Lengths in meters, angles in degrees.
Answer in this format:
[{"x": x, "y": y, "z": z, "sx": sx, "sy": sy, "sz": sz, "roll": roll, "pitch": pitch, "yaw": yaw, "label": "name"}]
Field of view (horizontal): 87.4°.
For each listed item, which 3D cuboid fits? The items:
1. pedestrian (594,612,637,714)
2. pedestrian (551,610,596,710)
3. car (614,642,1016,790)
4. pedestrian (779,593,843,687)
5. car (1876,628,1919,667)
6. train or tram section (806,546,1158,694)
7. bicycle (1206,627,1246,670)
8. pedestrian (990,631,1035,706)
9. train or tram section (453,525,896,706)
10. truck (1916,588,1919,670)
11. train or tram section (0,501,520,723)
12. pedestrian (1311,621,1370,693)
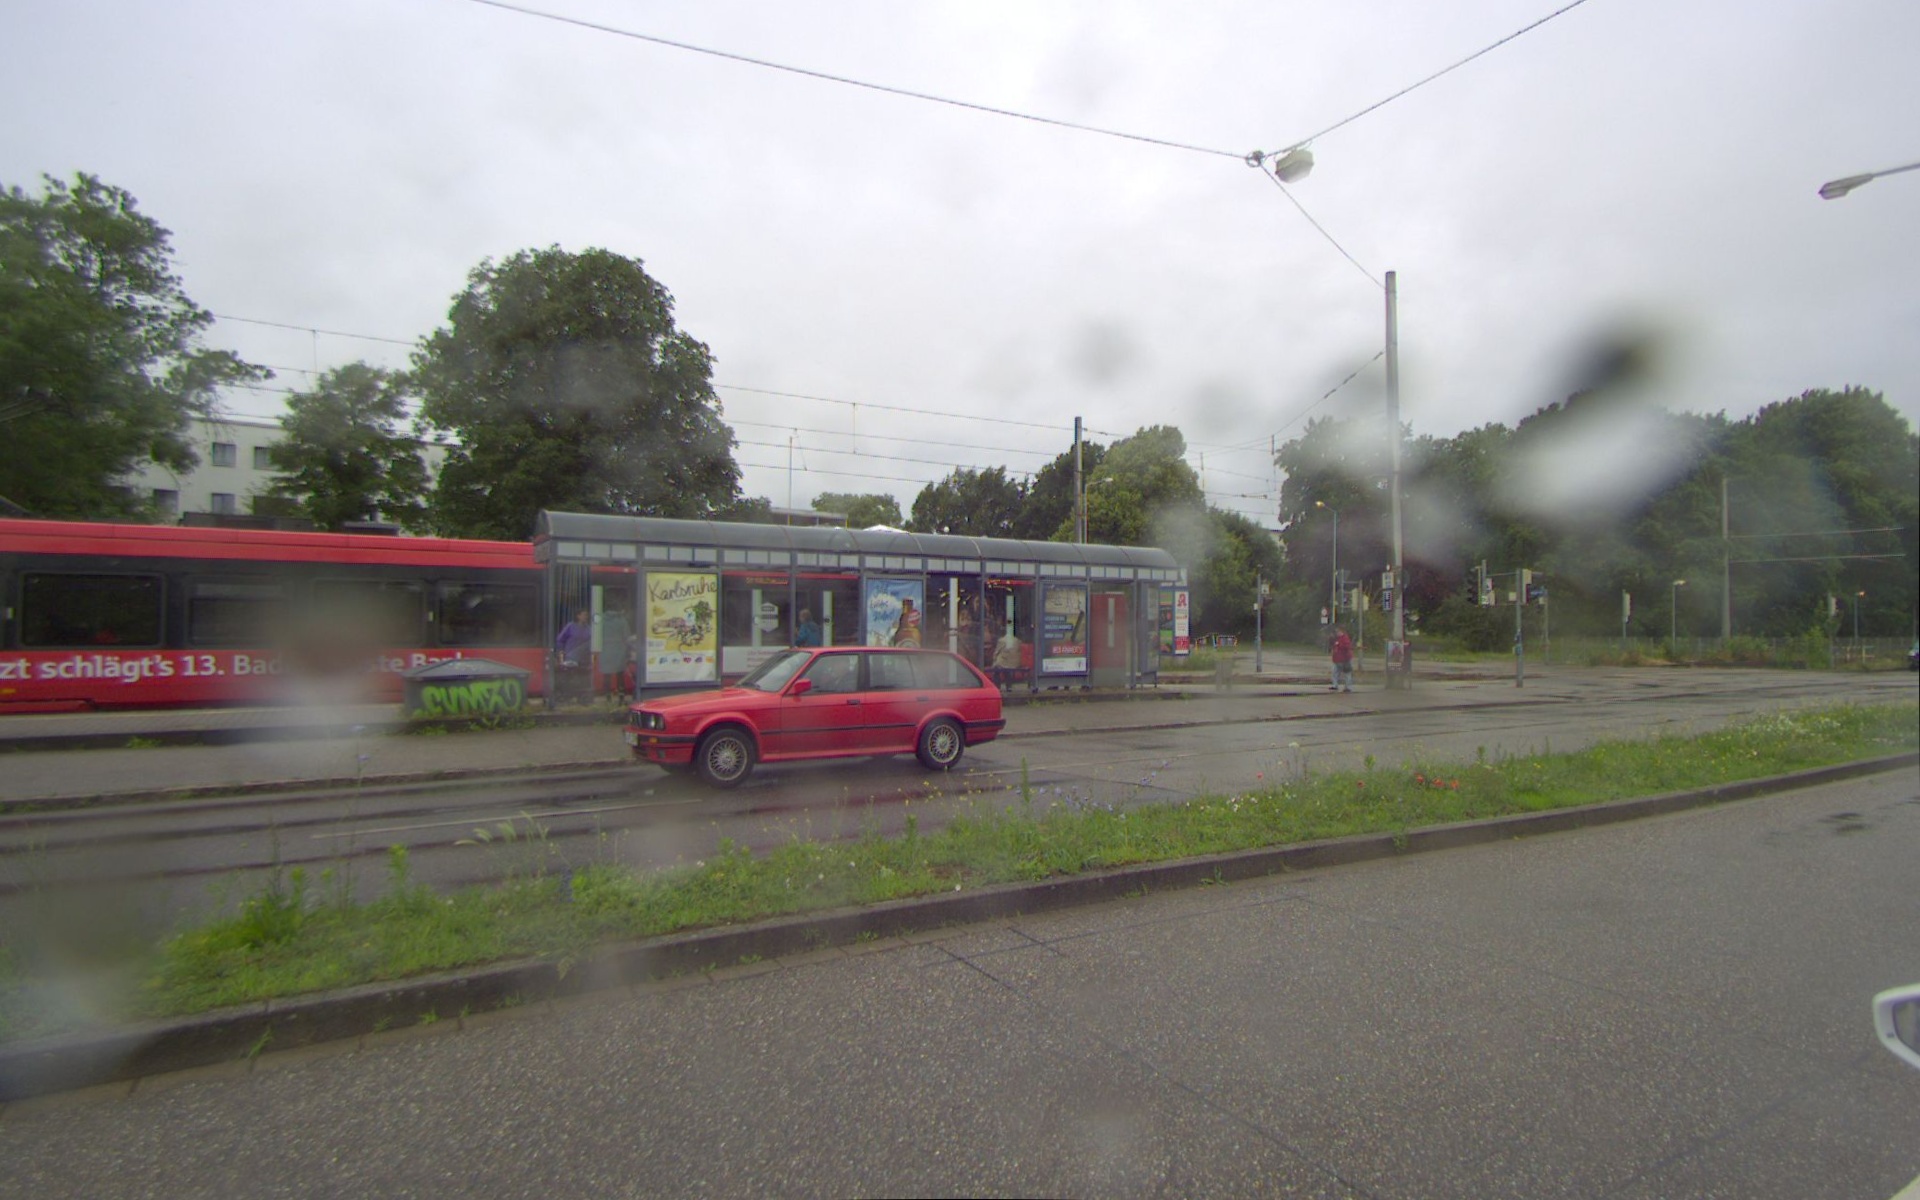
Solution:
[{"x": -5.494, "y": 0.998, "z": 16.030, "sx": 0.591, "sy": 1.583, "sz": 0.443, "roll": 2, "pitch": 0, "yaw": -17, "label": "pedestrian"}, {"x": -6.232, "y": 0.960, "z": 16.213, "sx": 0.591, "sy": 1.583, "sz": 0.521, "roll": 2, "pitch": 0, "yaw": -17, "label": "pedestrian"}, {"x": -1.552, "y": 1.189, "z": 11.359, "sx": 4.207, "sy": 1.378, "sz": 1.671, "roll": 1, "pitch": -4, "yaw": -34, "label": "car"}, {"x": -2.664, "y": 0.711, "z": 17.946, "sx": 0.917, "sy": 1.618, "sz": 0.801, "roll": 1, "pitch": -1, "yaw": -29, "label": "pedestrian"}, {"x": 45.518, "y": 2.246, "z": 47.542, "sx": 4.475, "sy": 1.732, "sz": 1.983, "roll": 2, "pitch": 0, "yaw": -31, "label": "car"}, {"x": 0.754, "y": 0.594, "z": 27.331, "sx": 9.173, "sy": 3.434, "sz": 3.515, "roll": 1, "pitch": -2, "yaw": -31, "label": "train or tram section"}, {"x": 11.237, "y": 2.032, "z": 42.377, "sx": 1.714, "sy": 1.784, "sz": 0.637, "roll": 1, "pitch": -1, "yaw": -31, "label": "bicycle"}, {"x": 1.049, "y": 1.352, "z": 20.088, "sx": 0.691, "sy": 1.472, "sz": 0.622, "roll": 1, "pitch": -1, "yaw": -30, "label": "pedestrian"}, {"x": -6.332, "y": 0.417, "z": 22.990, "sx": 9.173, "sy": 3.435, "sz": 3.515, "roll": 1, "pitch": -2, "yaw": -31, "label": "train or tram section"}, {"x": 54.363, "y": 1.661, "z": 52.924, "sx": 10.293, "sy": 4.223, "sz": 3.366, "roll": 2, "pitch": 0, "yaw": -33, "label": "truck"}, {"x": -13.782, "y": 0.272, "z": 18.394, "sx": 10.144, "sy": 3.445, "sz": 3.515, "roll": 1, "pitch": -2, "yaw": -31, "label": "train or tram section"}, {"x": 9.340, "y": 1.389, "z": 24.666, "sx": 0.985, "sy": 1.698, "sz": 0.919, "roll": 2, "pitch": 0, "yaw": -31, "label": "pedestrian"}]
